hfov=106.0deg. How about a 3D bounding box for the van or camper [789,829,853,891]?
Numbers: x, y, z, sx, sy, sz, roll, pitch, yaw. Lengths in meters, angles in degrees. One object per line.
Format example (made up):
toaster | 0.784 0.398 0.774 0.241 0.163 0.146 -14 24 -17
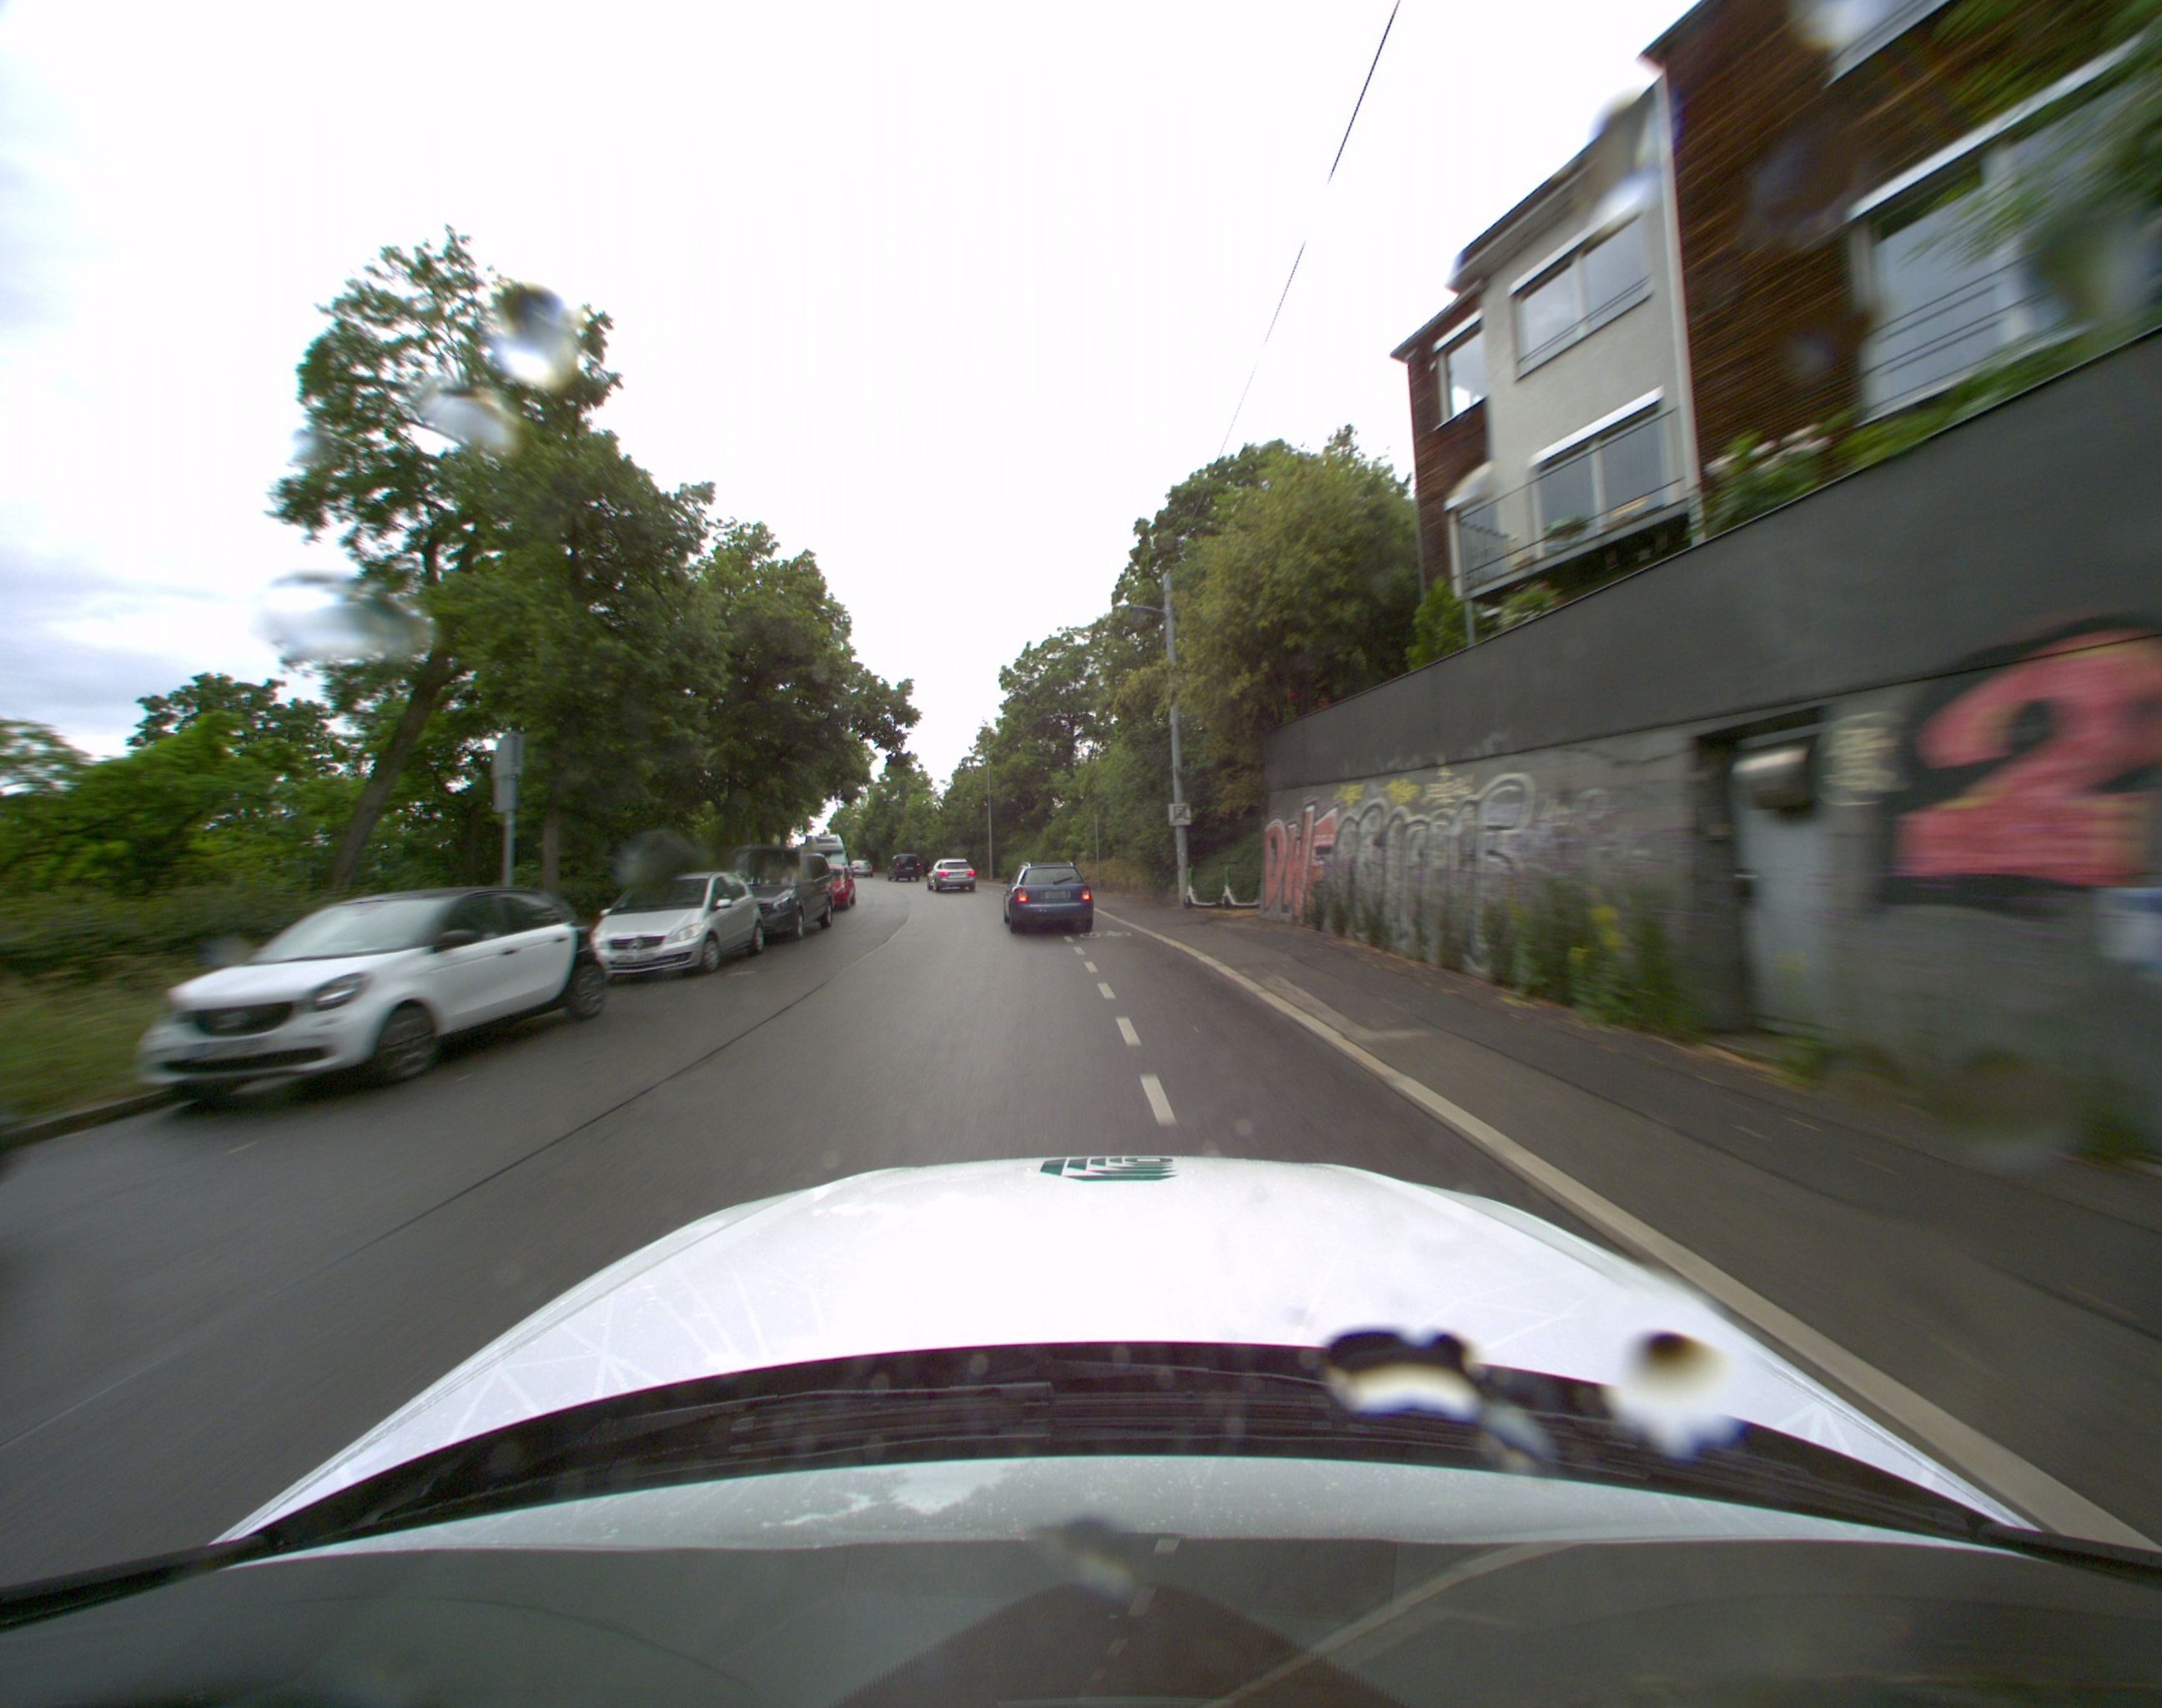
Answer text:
van or camper | -14.435 0.350 44.902 2.518 3.026 6.508 -4 1 -24

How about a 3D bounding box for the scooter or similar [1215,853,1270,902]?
scooter or similar | 3.794 0.552 19.236 0.348 1.117 1.407 -1 -1 -34

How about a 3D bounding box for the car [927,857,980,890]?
car | -5.965 0.866 37.692 1.895 1.389 3.977 -2 0 -17

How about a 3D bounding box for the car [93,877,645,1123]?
car | -6.263 1.110 7.989 1.679 1.509 4.202 -5 0 -2

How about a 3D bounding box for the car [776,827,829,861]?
car | -13.038 -0.462 38.328 1.958 1.408 4.186 -4 1 -15

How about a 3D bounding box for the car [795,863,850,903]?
car | -10.796 1.170 34.221 1.958 1.408 3.526 -4 1 -15

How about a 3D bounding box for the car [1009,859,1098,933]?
car | -0.699 0.840 18.139 1.744 1.407 3.993 -1 0 -5

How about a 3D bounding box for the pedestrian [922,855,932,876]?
pedestrian | -11.910 0.897 62.890 0.597 1.566 0.664 -1 0 -20

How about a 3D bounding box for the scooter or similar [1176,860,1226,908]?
scooter or similar | 3.004 0.742 20.483 0.348 1.116 1.409 -9 3 -28

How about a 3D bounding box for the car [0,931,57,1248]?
car | -5.663 1.121 1.520 1.678 1.380 4.501 -5 0 0

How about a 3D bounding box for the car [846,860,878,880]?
car | -18.529 1.355 68.918 1.832 1.617 3.752 -3 0 -27

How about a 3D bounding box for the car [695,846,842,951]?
car | -7.260 0.899 19.516 1.953 1.967 4.990 -5 1 -7

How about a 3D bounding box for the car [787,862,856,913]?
car | -9.223 1.122 29.286 1.957 1.461 4.553 -4 1 -14

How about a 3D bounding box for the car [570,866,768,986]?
car | -6.655 1.057 13.624 1.683 1.552 3.756 -5 0 -8

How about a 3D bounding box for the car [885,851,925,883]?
car | -12.244 0.918 56.454 1.797 1.953 3.968 -5 0 -24
